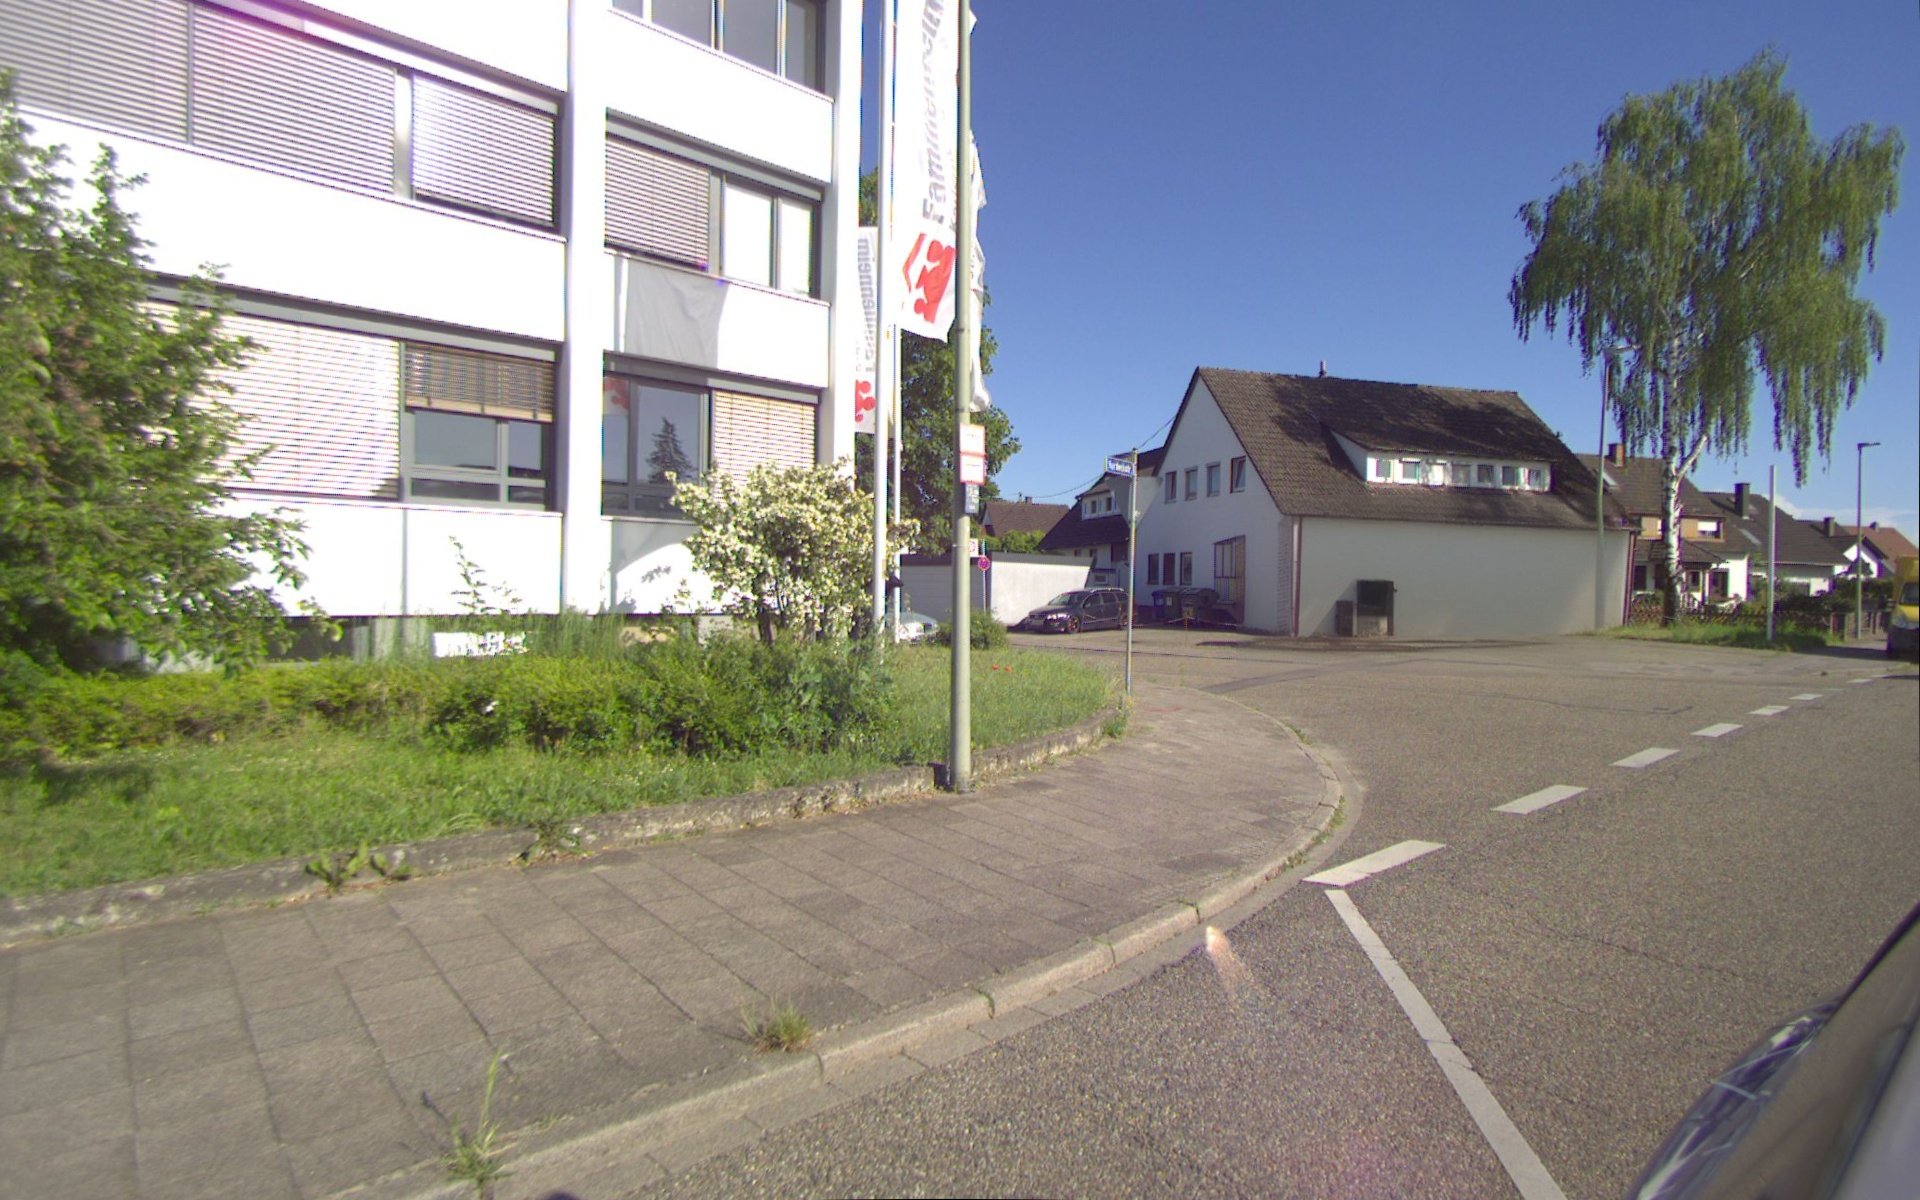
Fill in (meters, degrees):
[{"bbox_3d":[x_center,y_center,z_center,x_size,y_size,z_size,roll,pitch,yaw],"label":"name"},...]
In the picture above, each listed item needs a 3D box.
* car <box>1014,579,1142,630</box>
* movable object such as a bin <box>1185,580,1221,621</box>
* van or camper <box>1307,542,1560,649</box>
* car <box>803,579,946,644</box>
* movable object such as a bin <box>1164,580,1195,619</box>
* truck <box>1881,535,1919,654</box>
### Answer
[{"bbox_3d":[4.119,0.103,34.879,4.551,1.455,1.718,-4,3,-40],"label":"car"},{"bbox_3d":[8.752,0.029,36.488,0.970,1.454,0.838,0,1,-18],"label":"movable object such as a bin"},{"bbox_3d":[12.228,-0.180,26.563,5.768,2.573,2.272,1,1,24],"label":"van or camper"},{"bbox_3d":[-2.445,0.251,27.919,1.767,1.638,4.522,0,1,-38],"label":"car"},{"bbox_3d":[8.180,-0.024,37.797,0.587,1.454,1.196,0,1,-18],"label":"movable object such as a bin"},{"bbox_3d":[27.119,-0.142,27.405,6.896,2.972,2.407,-1,3,-42],"label":"truck"}]
